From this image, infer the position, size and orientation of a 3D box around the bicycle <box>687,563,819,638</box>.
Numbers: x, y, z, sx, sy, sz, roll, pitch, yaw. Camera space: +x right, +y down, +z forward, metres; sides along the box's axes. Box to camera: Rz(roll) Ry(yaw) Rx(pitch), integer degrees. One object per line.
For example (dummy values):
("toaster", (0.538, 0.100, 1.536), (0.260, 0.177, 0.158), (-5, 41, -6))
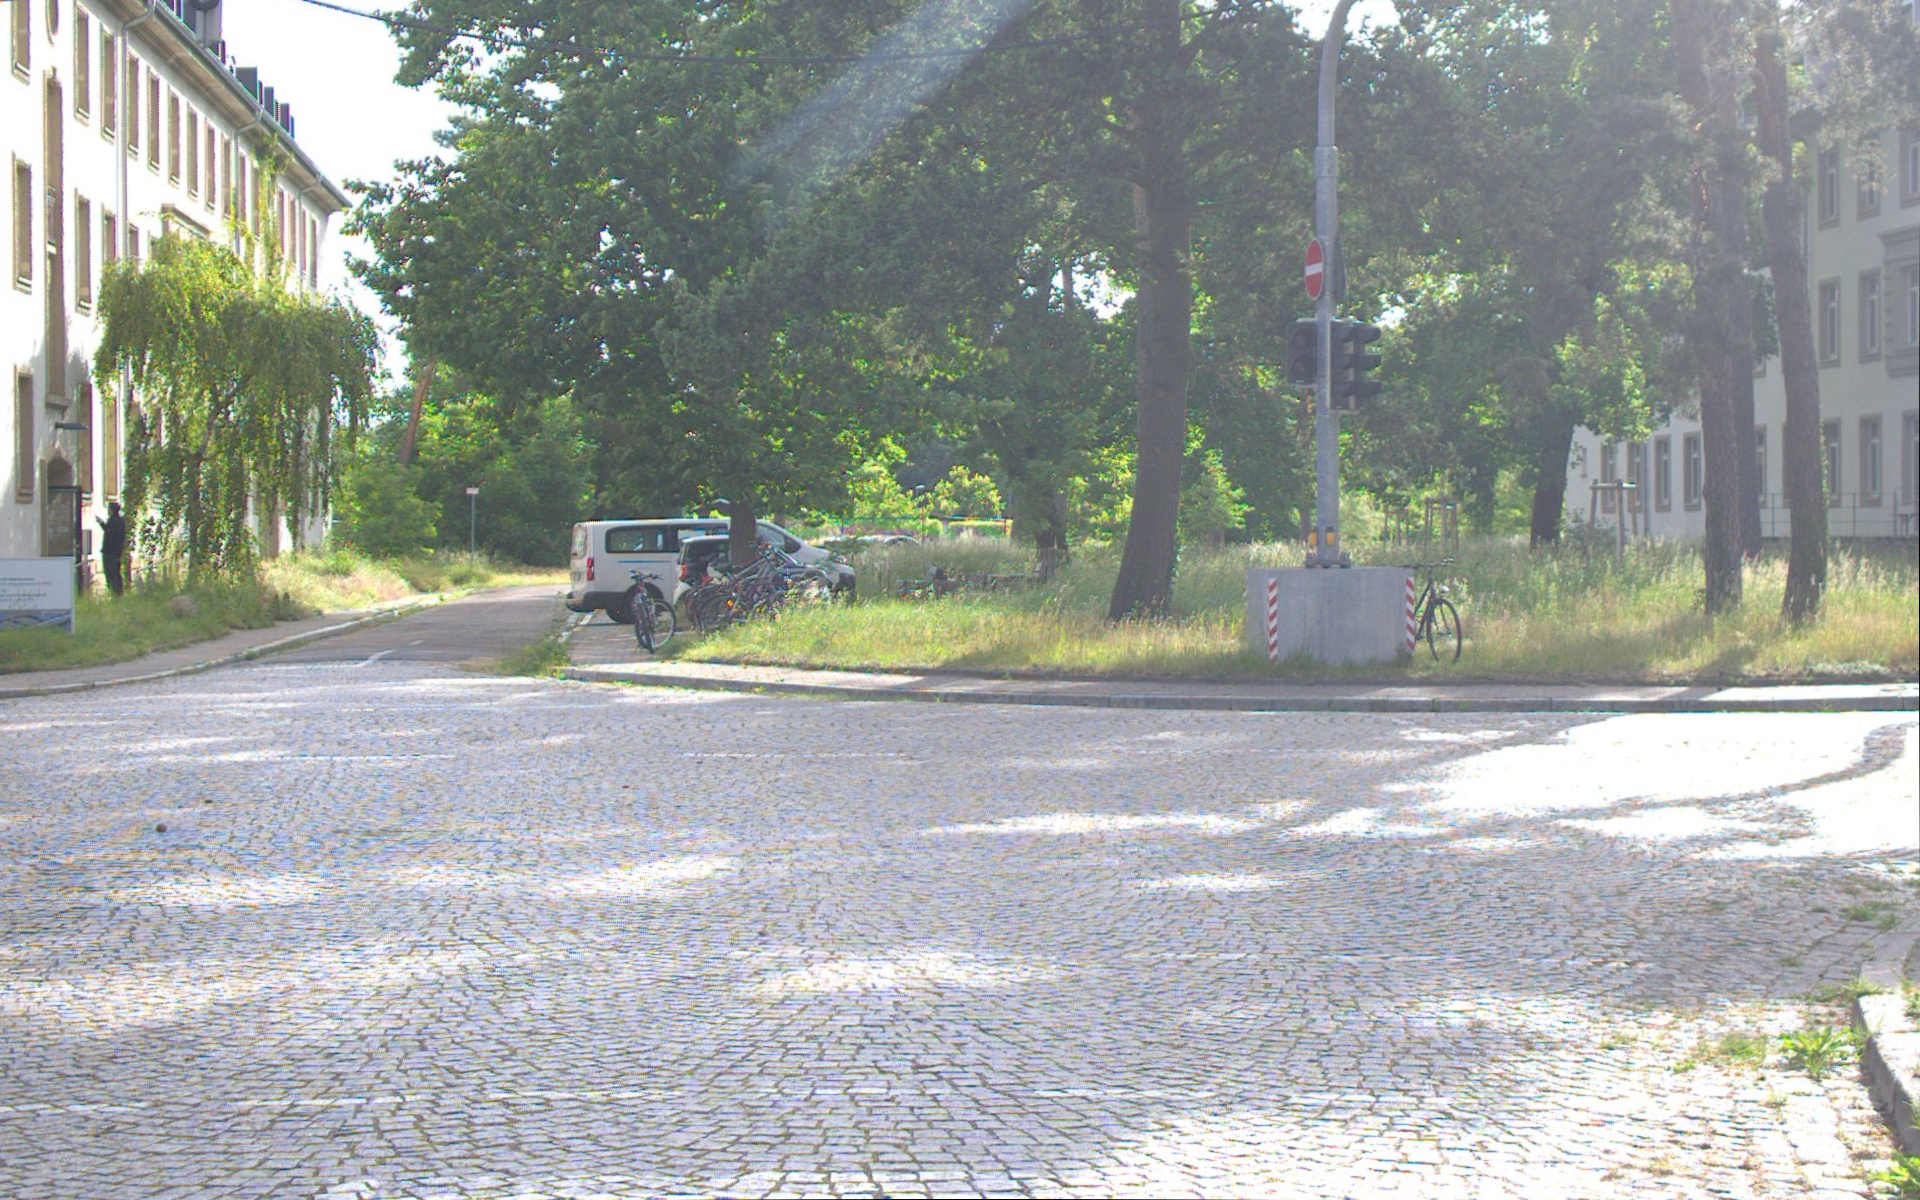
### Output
("bicycle", (-2.870, -0.003, 47.685), (1.792, 0.995, 0.644), (-1, 2, -6))

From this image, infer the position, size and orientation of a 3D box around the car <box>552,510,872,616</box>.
("car", (-4.590, -0.681, 63.529), (5.499, 1.909, 2.255), (0, 1, -18))

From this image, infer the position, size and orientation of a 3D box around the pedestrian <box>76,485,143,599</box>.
("pedestrian", (-14.621, -0.993, 59.113), (0.985, 1.956, 0.933), (0, 0, -5))

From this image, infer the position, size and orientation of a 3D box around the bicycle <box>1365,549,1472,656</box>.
("bicycle", (4.534, 0.010, 34.061), (0.562, 0.995, 1.753), (-1, 2, -9))

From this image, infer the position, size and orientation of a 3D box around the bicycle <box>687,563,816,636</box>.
("bicycle", (-2.962, -0.013, 48.702), (1.792, 0.995, 0.644), (-1, 2, -6))

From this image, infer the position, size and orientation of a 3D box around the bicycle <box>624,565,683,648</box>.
("bicycle", (-3.919, 0.073, 43.998), (0.728, 0.995, 1.799), (-1, 2, -5))

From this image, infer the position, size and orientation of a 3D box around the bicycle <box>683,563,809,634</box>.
("bicycle", (-3.130, -0.030, 50.194), (1.792, 0.995, 0.644), (-1, 2, -6))

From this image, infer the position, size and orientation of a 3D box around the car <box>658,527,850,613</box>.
("car", (-3.607, -0.517, 60.032), (3.031, 1.460, 1.720), (0, 0, -17))
